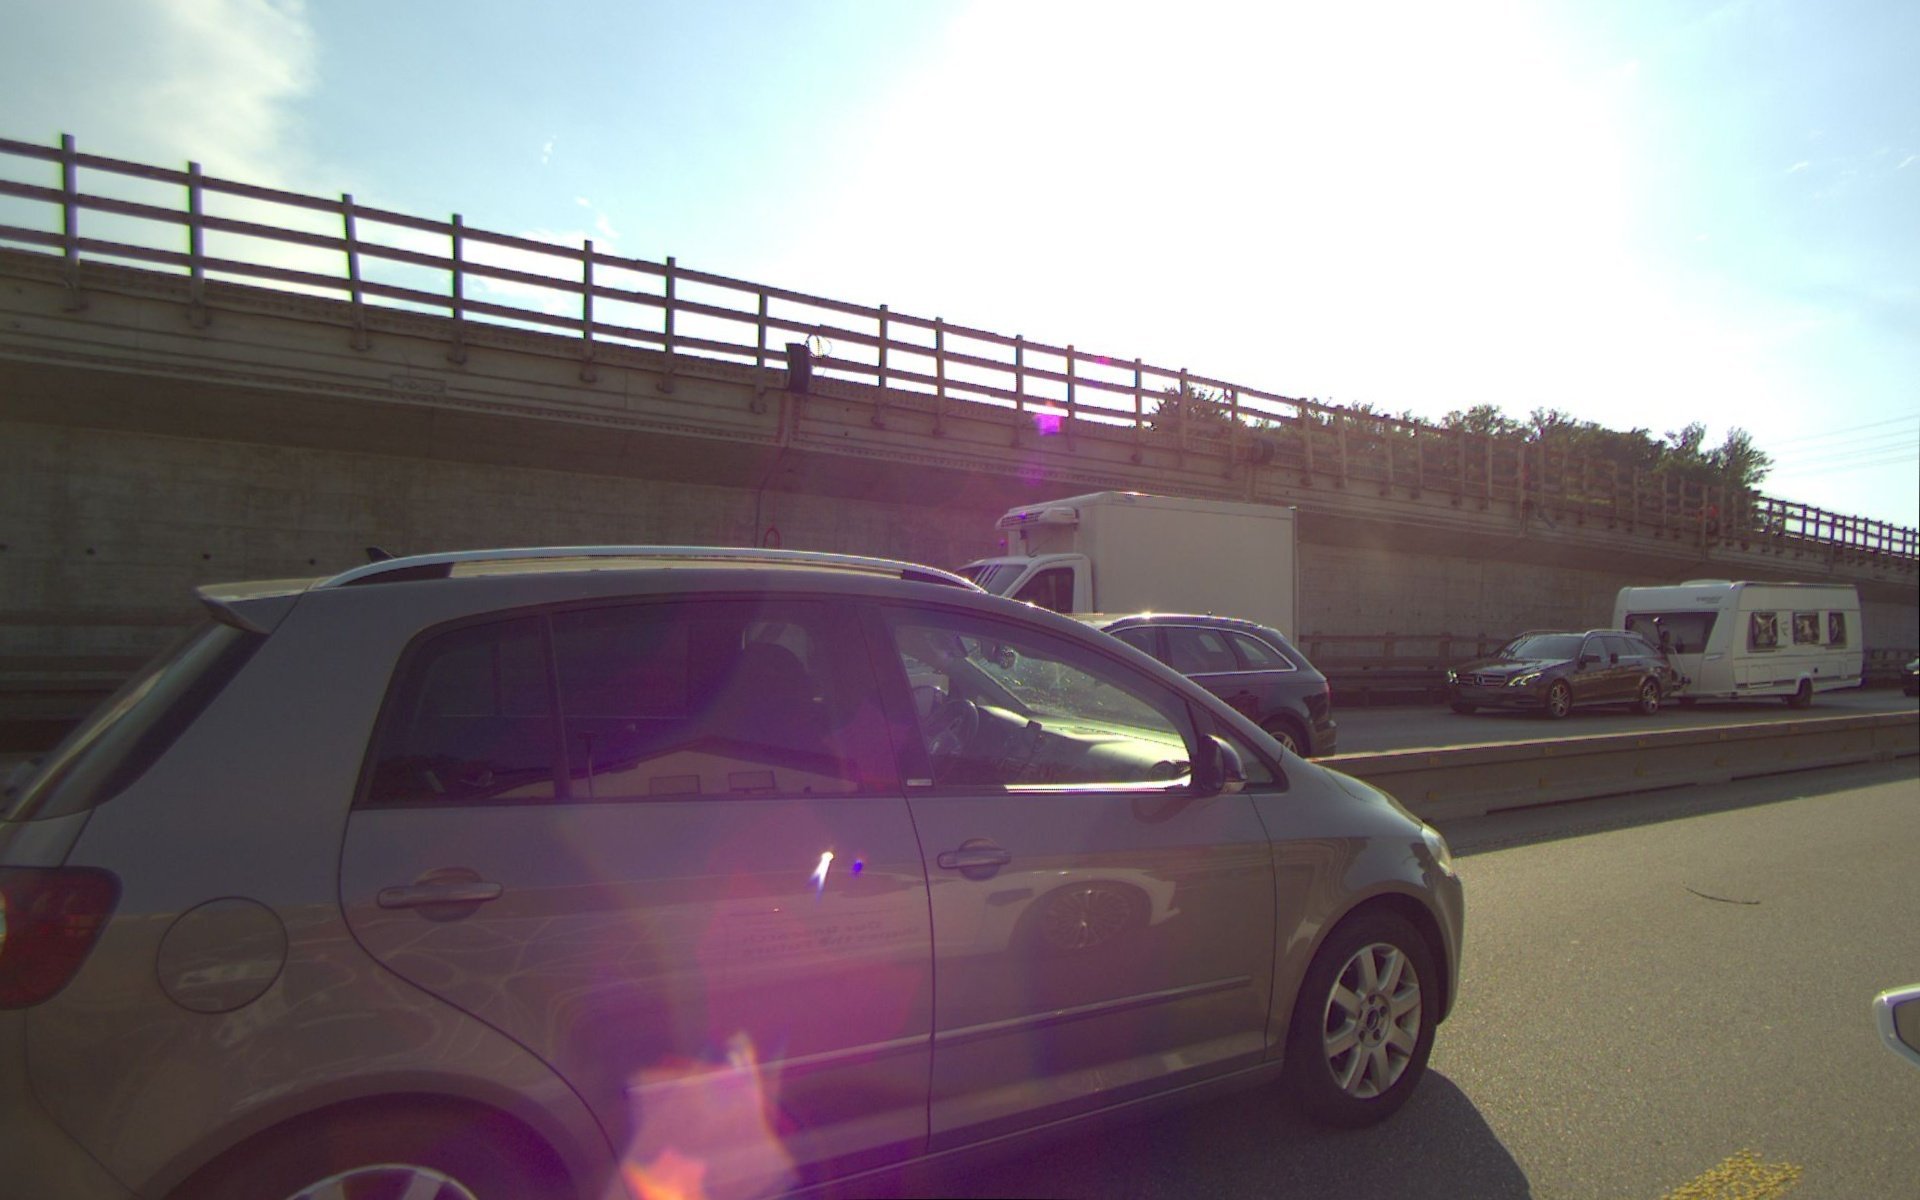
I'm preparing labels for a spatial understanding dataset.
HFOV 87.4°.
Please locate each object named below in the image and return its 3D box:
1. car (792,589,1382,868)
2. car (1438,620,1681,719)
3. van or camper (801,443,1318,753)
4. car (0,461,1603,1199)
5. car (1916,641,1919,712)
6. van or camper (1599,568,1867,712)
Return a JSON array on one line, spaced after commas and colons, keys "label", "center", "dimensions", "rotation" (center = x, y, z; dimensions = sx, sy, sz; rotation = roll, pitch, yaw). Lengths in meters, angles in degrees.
[{"label": "car", "center": [1.146, 0.844, 7.871], "dimensions": [4.510, 1.617, 1.731], "rotation": [3, 0, -33]}, {"label": "car", "center": [10.687, 1.190, 17.801], "dimensions": [4.728, 1.551, 1.633], "rotation": [2, -2, -30]}, {"label": "van or camper", "center": [1.392, 0.123, 12.387], "dimensions": [6.153, 3.028, 2.308], "rotation": [3, -2, -31]}, {"label": "car", "center": [-0.068, 0.664, 3.058], "dimensions": [4.221, 1.609, 1.673], "rotation": [1, -2, -30]}, {"label": "car", "center": [20.401, 1.510, 19.398], "dimensions": [4.191, 1.342, 1.772], "rotation": [2, -1, -31]}, {"label": "van or camper", "center": [16.533, 0.867, 21.388], "dimensions": [6.379, 2.698, 2.301], "rotation": [2, -2, -30]}]
